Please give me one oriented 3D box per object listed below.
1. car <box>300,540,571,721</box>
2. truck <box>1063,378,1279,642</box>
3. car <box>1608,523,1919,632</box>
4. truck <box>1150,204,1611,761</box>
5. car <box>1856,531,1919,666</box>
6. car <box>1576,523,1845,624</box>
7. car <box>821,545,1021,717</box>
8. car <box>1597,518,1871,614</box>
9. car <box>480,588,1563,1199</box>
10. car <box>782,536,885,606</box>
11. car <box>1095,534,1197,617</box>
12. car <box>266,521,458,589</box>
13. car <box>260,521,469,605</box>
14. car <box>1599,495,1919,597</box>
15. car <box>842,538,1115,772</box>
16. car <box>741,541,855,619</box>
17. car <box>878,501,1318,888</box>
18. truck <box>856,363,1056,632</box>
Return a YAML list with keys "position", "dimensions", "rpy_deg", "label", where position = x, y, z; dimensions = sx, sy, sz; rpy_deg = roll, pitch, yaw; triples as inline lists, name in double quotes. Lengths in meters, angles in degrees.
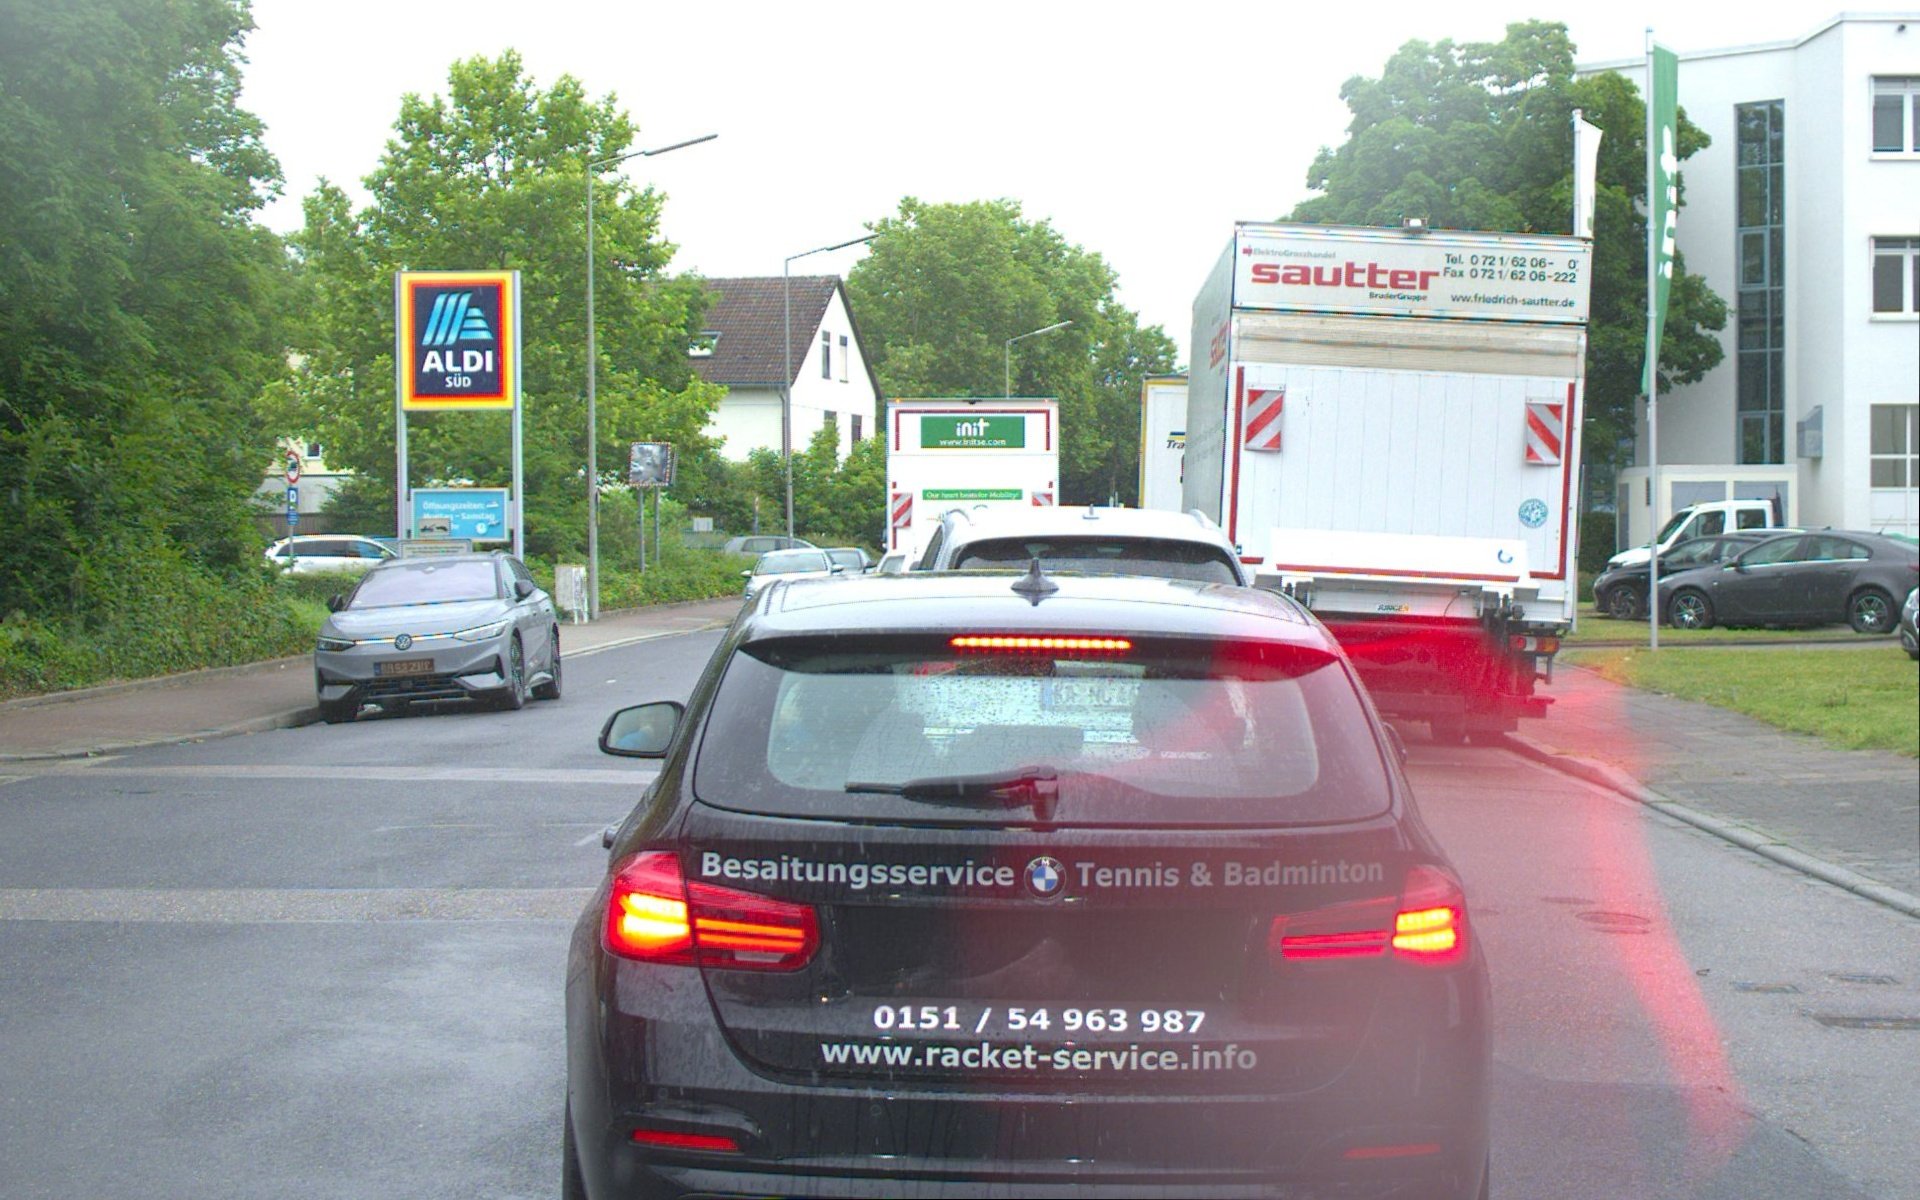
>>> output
- position: [-5.013, 0.238, 33.483]
  dimensions: [1.809, 1.523, 4.748]
  rpy_deg: [-4, 1, 0]
  label: "car"
- position: [3.075, -1.346, 52.129]
  dimensions: [2.741, 3.598, 7.750]
  rpy_deg: [2, 1, 1]
  label: "truck"
- position: [11.642, -0.337, 48.367]
  dimensions: [4.671, 1.463, 1.787]
  rpy_deg: [1, 1, 39]
  label: "car"
- position: [3.195, -0.916, 28.706]
  dimensions: [2.741, 3.776, 9.299]
  rpy_deg: [3, 1, 1]
  label: "truck"
- position: [11.298, -0.045, 36.564]
  dimensions: [3.758, 1.388, 1.706]
  rpy_deg: [-1, 2, -44]
  label: "car"
- position: [11.968, -0.447, 54.915]
  dimensions: [3.778, 1.392, 1.723]
  rpy_deg: [5, 4, 41]
  label: "car"
- position: [-0.390, 0.255, 33.311]
  dimensions: [1.804, 1.547, 4.000]
  rpy_deg: [1, 1, -1]
  label: "car"
- position: [12.882, -0.595, 57.362]
  dimensions: [4.147, 1.410, 1.687]
  rpy_deg: [3, 4, 42]
  label: "car"
- position: [0.068, 0.700, 7.764]
  dimensions: [1.804, 1.390, 4.000]
  rpy_deg: [1, 1, -1]
  label: "car"
- position: [-2.649, -0.632, 72.845]
  dimensions: [1.706, 1.362, 3.837]
  rpy_deg: [-2, 1, 4]
  label: "car"
- position: [3.581, -0.495, 66.463]
  dimensions: [1.904, 1.535, 4.000]
  rpy_deg: [0, 1, 3]
  label: "car"
- position: [-13.613, -1.040, 78.415]
  dimensions: [3.987, 1.535, 1.910]
  rpy_deg: [0, 1, 2]
  label: "car"
- position: [-11.246, -0.711, 65.041]
  dimensions: [3.570, 1.455, 1.712]
  rpy_deg: [2, 1, 3]
  label: "car"
- position: [16.742, -1.117, 71.585]
  dimensions: [6.452, 2.007, 2.000]
  rpy_deg: [1, 0, -3]
  label: "car"
- position: [0.091, 0.341, 24.981]
  dimensions: [1.804, 1.547, 4.000]
  rpy_deg: [1, 1, -1]
  label: "car"
- position: [-3.105, -0.414, 66.646]
  dimensions: [1.706, 1.362, 4.601]
  rpy_deg: [-2, 1, 3]
  label: "car"
- position: [0.538, 0.366, 16.224]
  dimensions: [1.804, 1.581, 4.000]
  rpy_deg: [1, 1, -1]
  label: "car"
- position: [-0.051, -1.509, 46.651]
  dimensions: [2.341, 3.245, 7.751]
  rpy_deg: [3, 3, 0]
  label: "truck"
